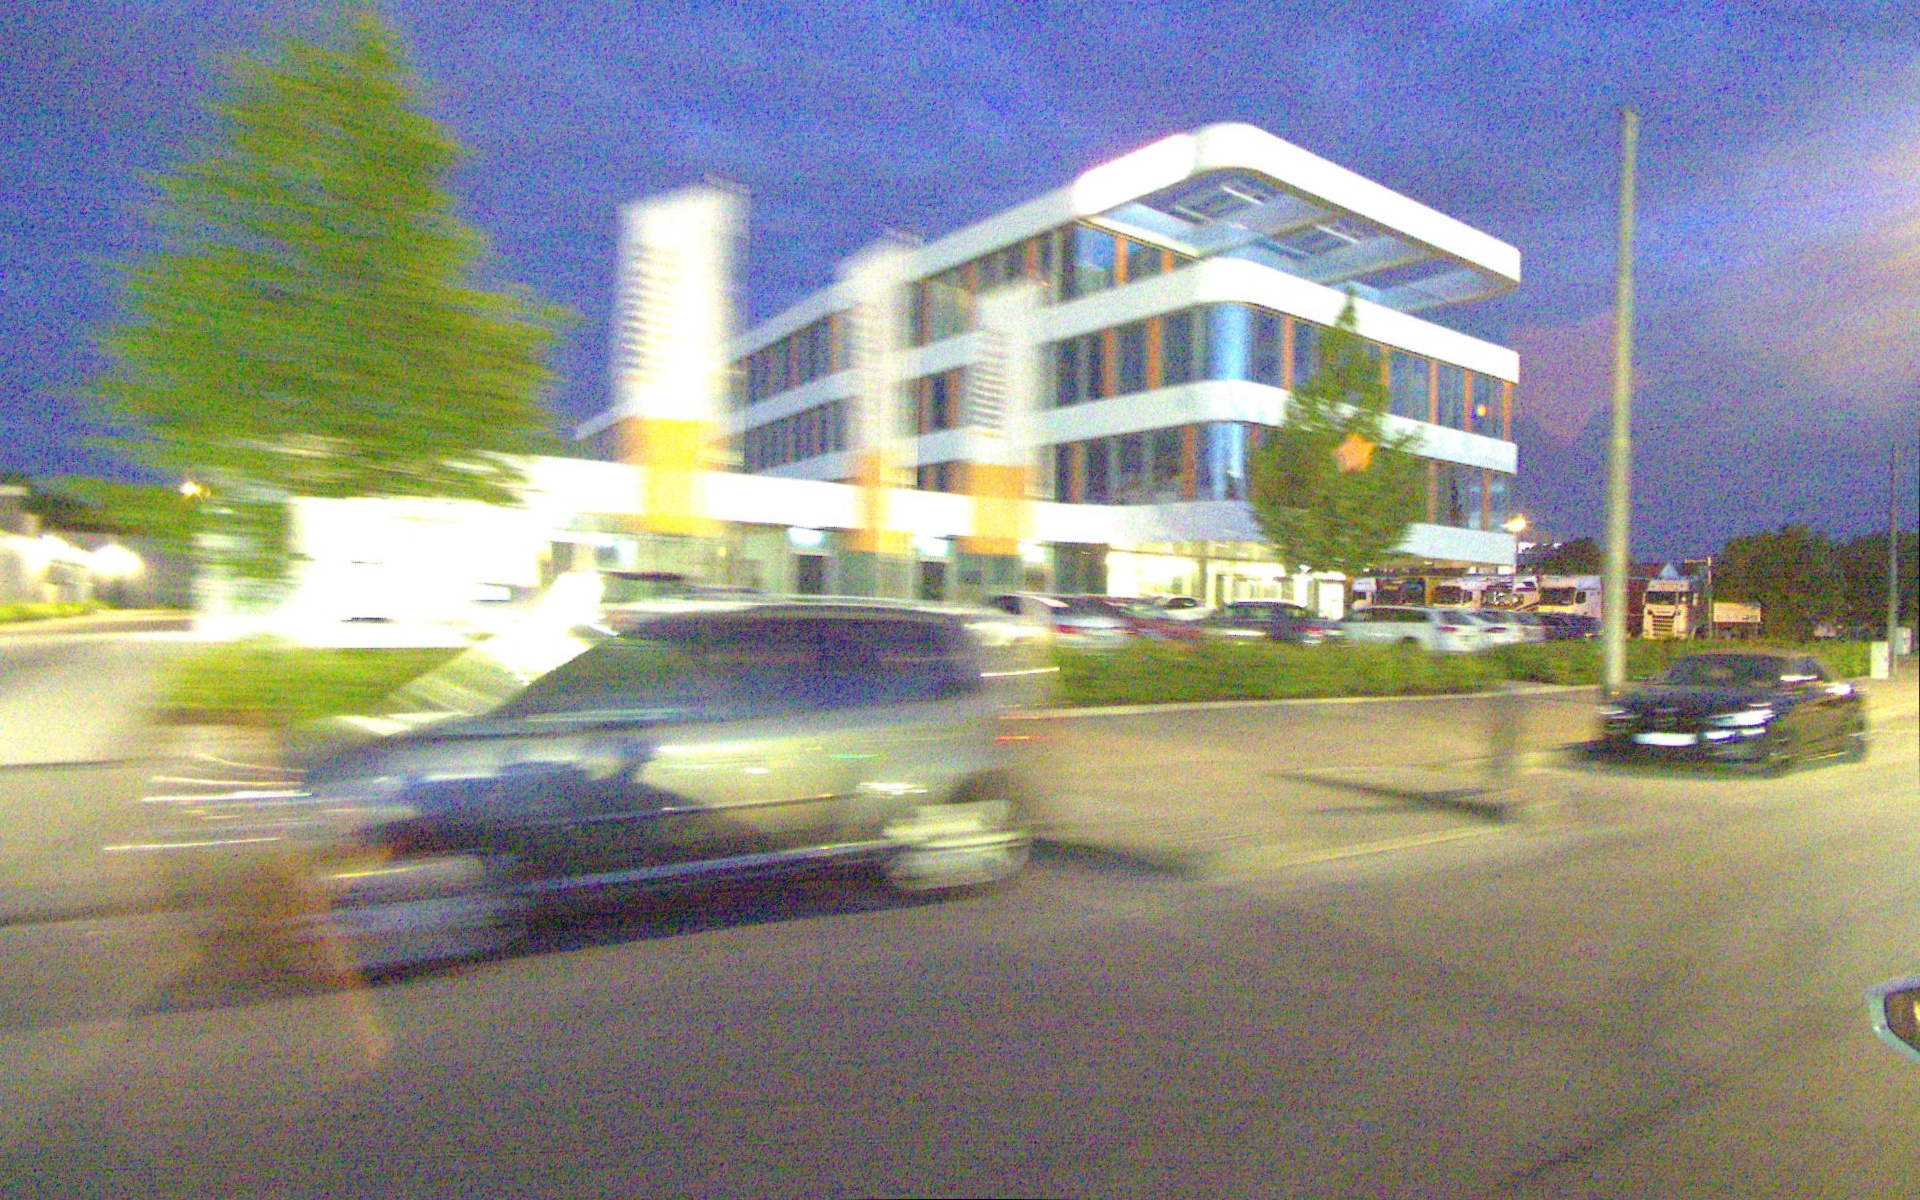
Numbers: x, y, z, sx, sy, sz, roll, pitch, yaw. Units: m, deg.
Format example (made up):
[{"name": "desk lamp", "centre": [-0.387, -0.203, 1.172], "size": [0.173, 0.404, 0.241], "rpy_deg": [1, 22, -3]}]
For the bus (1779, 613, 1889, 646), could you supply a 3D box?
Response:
[{"name": "bus", "centre": [88.100, 2.970, 101.169], "size": [12.486, 3.247, 3.007], "rpy_deg": [1, -1, -22]}]

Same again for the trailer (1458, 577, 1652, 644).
[{"name": "trailer", "centre": [42.937, 0.800, 72.290], "size": [14.768, 4.415, 3.055], "rpy_deg": [2, 0, -19]}]

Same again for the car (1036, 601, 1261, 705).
[{"name": "car", "centre": [3.650, 0.992, 20.187], "size": [1.943, 1.840, 4.376], "rpy_deg": [2, -1, -34]}]

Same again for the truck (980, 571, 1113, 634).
[{"name": "truck", "centre": [6.693, 0.237, 80.771], "size": [3.543, 4.611, 12.470], "rpy_deg": [1, -1, -35]}]

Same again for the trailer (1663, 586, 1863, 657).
[{"name": "trailer", "centre": [49.489, 1.356, 61.694], "size": [14.793, 3.985, 3.050], "rpy_deg": [2, 0, -24]}]

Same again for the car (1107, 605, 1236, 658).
[{"name": "car", "centre": [7.258, 1.065, 34.310], "size": [4.160, 1.663, 1.981], "rpy_deg": [1, 0, -35]}]

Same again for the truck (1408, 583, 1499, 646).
[{"name": "truck", "centre": [36.288, 1.063, 73.910], "size": [5.484, 4.416, 3.052], "rpy_deg": [2, 0, -21]}]

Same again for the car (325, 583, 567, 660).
[{"name": "car", "centre": [-10.932, 0.460, 21.450], "size": [4.417, 1.476, 1.890], "rpy_deg": [2, 0, -34]}]

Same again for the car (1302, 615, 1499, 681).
[{"name": "car", "centre": [11.299, 1.183, 26.032], "size": [1.832, 1.498, 4.376], "rpy_deg": [2, -1, -34]}]

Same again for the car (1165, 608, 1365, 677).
[{"name": "car", "centre": [6.947, 0.921, 23.292], "size": [1.809, 1.412, 4.239], "rpy_deg": [2, -1, -34]}]

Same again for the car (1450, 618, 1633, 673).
[{"name": "car", "centre": [17.706, 1.348, 30.805], "size": [2.038, 1.471, 4.425], "rpy_deg": [2, -1, -31]}]

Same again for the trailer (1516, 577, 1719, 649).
[{"name": "trailer", "centre": [45.206, 0.939, 68.938], "size": [14.767, 4.415, 3.055], "rpy_deg": [2, 0, -19]}]

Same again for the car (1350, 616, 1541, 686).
[{"name": "car", "centre": [13.280, 1.349, 27.721], "size": [1.944, 1.703, 4.374], "rpy_deg": [2, -1, -36]}]

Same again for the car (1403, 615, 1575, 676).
[{"name": "car", "centre": [15.402, 1.291, 29.448], "size": [1.823, 1.600, 4.105], "rpy_deg": [2, -1, -34]}]

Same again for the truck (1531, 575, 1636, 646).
[{"name": "truck", "centre": [38.884, 0.671, 62.724], "size": [4.856, 4.204, 3.057], "rpy_deg": [2, 0, -17]}]

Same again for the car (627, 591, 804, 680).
[{"name": "car", "centre": [-4.734, 0.608, 18.985], "size": [1.809, 1.472, 4.376], "rpy_deg": [2, -1, -34]}]

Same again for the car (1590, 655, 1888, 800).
[{"name": "car", "centre": [9.713, 1.433, 12.422], "size": [4.319, 1.389, 1.802], "rpy_deg": [2, -1, -36]}]

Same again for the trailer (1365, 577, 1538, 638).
[{"name": "trailer", "centre": [39.033, 0.660, 79.564], "size": [14.781, 4.415, 3.052], "rpy_deg": [2, 0, -22]}]

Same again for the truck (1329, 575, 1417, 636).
[{"name": "truck", "centre": [31.468, 0.432, 76.555], "size": [5.484, 4.416, 3.052], "rpy_deg": [2, 0, -21]}]

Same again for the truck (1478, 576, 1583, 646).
[{"name": "truck", "centre": [37.698, 0.709, 66.413], "size": [5.478, 4.416, 3.056], "rpy_deg": [2, 0, -18]}]

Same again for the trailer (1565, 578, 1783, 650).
[{"name": "trailer", "centre": [46.306, 0.944, 65.014], "size": [14.761, 4.204, 3.057], "rpy_deg": [2, 0, -17]}]

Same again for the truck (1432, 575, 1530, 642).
[{"name": "truck", "centre": [36.302, 0.609, 70.047], "size": [5.479, 4.416, 3.055], "rpy_deg": [2, 0, -19]}]

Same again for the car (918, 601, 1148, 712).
[{"name": "car", "centre": [1.245, 0.968, 19.127], "size": [1.943, 1.840, 4.578], "rpy_deg": [2, -1, -34]}]

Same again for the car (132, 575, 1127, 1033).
[{"name": "car", "centre": [-1.426, 0.777, 5.468], "size": [4.441, 1.614, 1.858], "rpy_deg": [2, -1, -30]}]

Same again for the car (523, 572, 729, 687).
[{"name": "car", "centre": [-5.258, 0.404, 15.431], "size": [1.873, 1.502, 4.376], "rpy_deg": [2, -1, -34]}]

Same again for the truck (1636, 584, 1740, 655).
[{"name": "truck", "centre": [42.407, 1.115, 58.536], "size": [4.441, 3.985, 3.050], "rpy_deg": [2, 0, -24]}]
